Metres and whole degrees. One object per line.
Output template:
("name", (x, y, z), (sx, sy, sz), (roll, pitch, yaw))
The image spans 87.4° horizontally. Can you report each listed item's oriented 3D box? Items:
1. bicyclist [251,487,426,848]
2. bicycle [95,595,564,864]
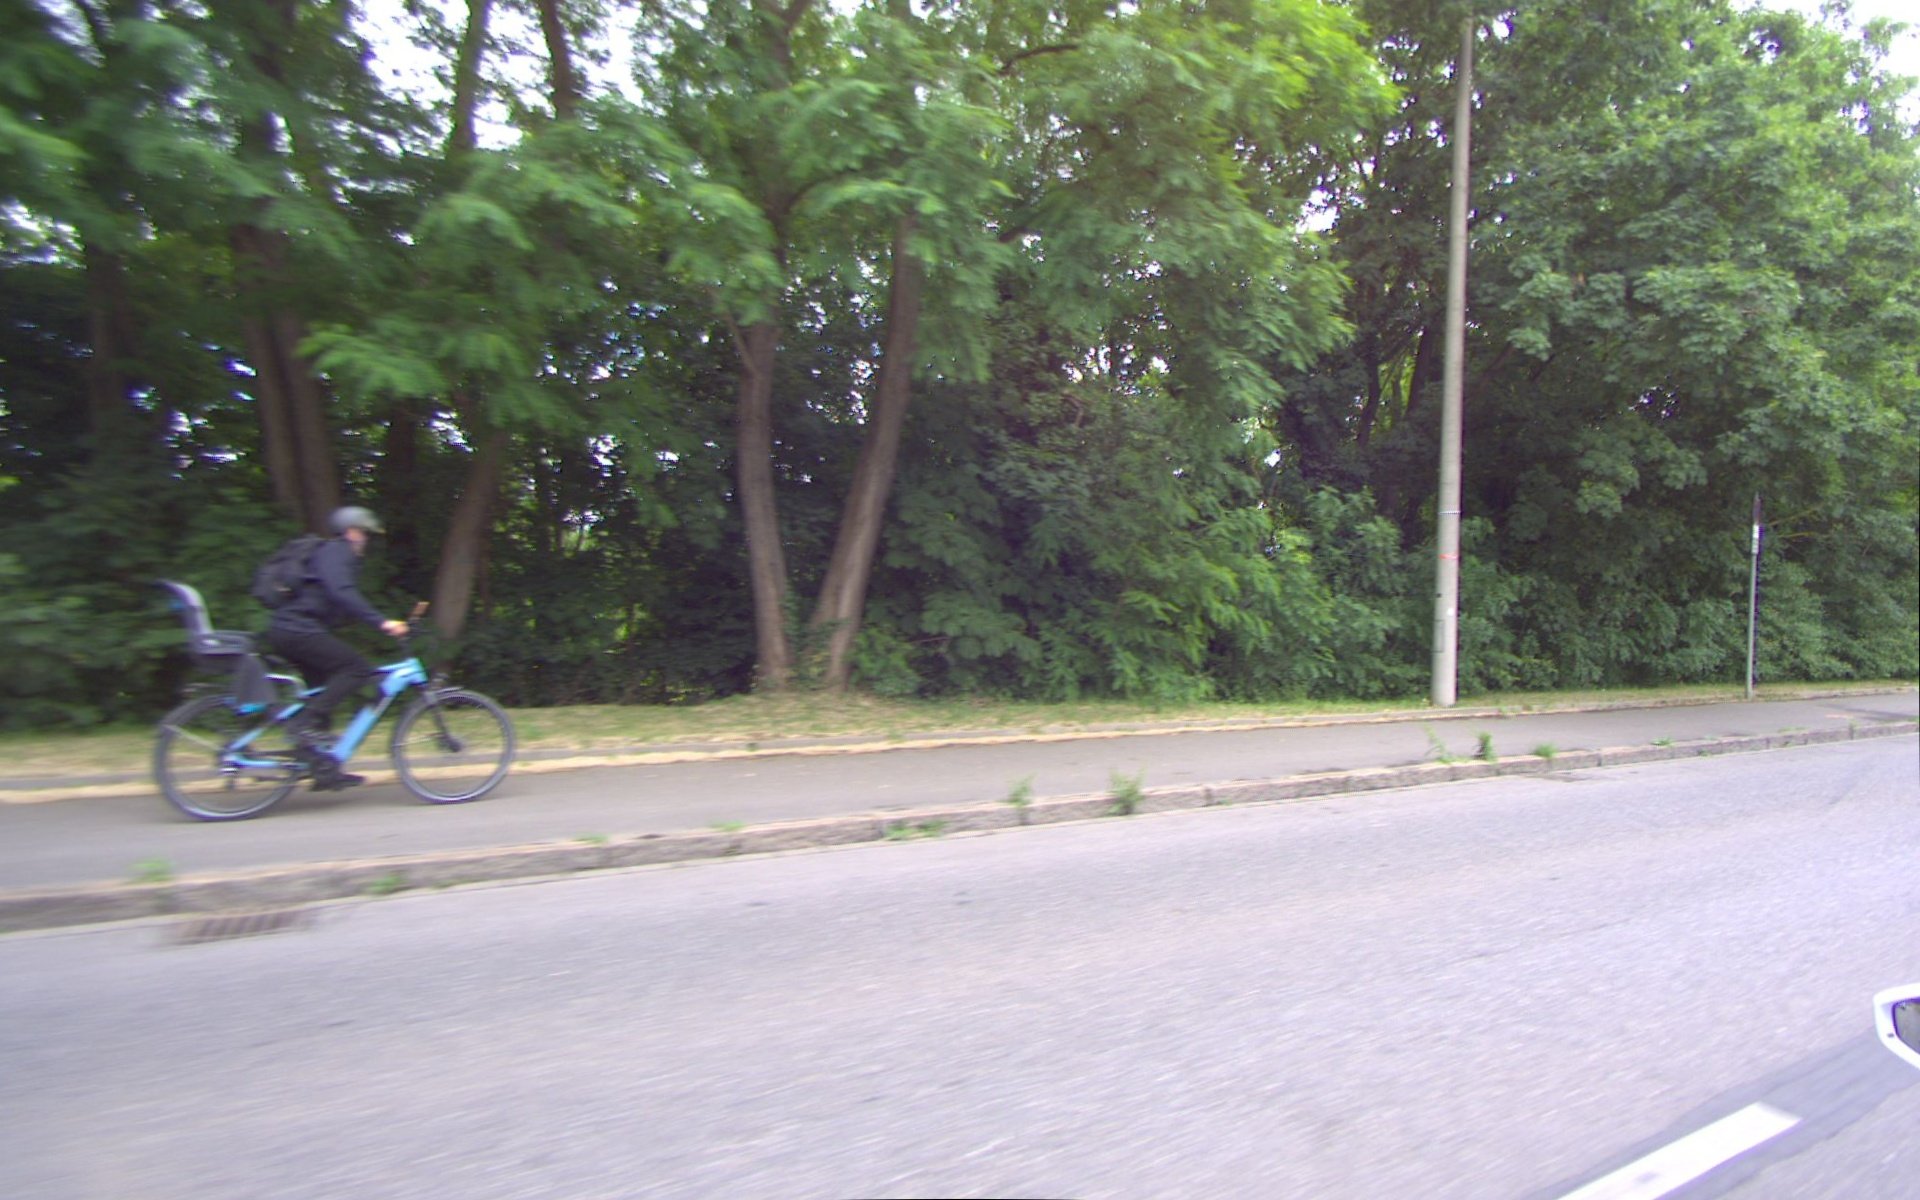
("bicyclist", (-3.703, 0.367, 6.004), (0.827, 1.974, 0.682), (1, 2, -33))
("bicycle", (-3.652, 0.683, 6.041), (2.257, 1.349, 0.694), (1, 2, -34))
